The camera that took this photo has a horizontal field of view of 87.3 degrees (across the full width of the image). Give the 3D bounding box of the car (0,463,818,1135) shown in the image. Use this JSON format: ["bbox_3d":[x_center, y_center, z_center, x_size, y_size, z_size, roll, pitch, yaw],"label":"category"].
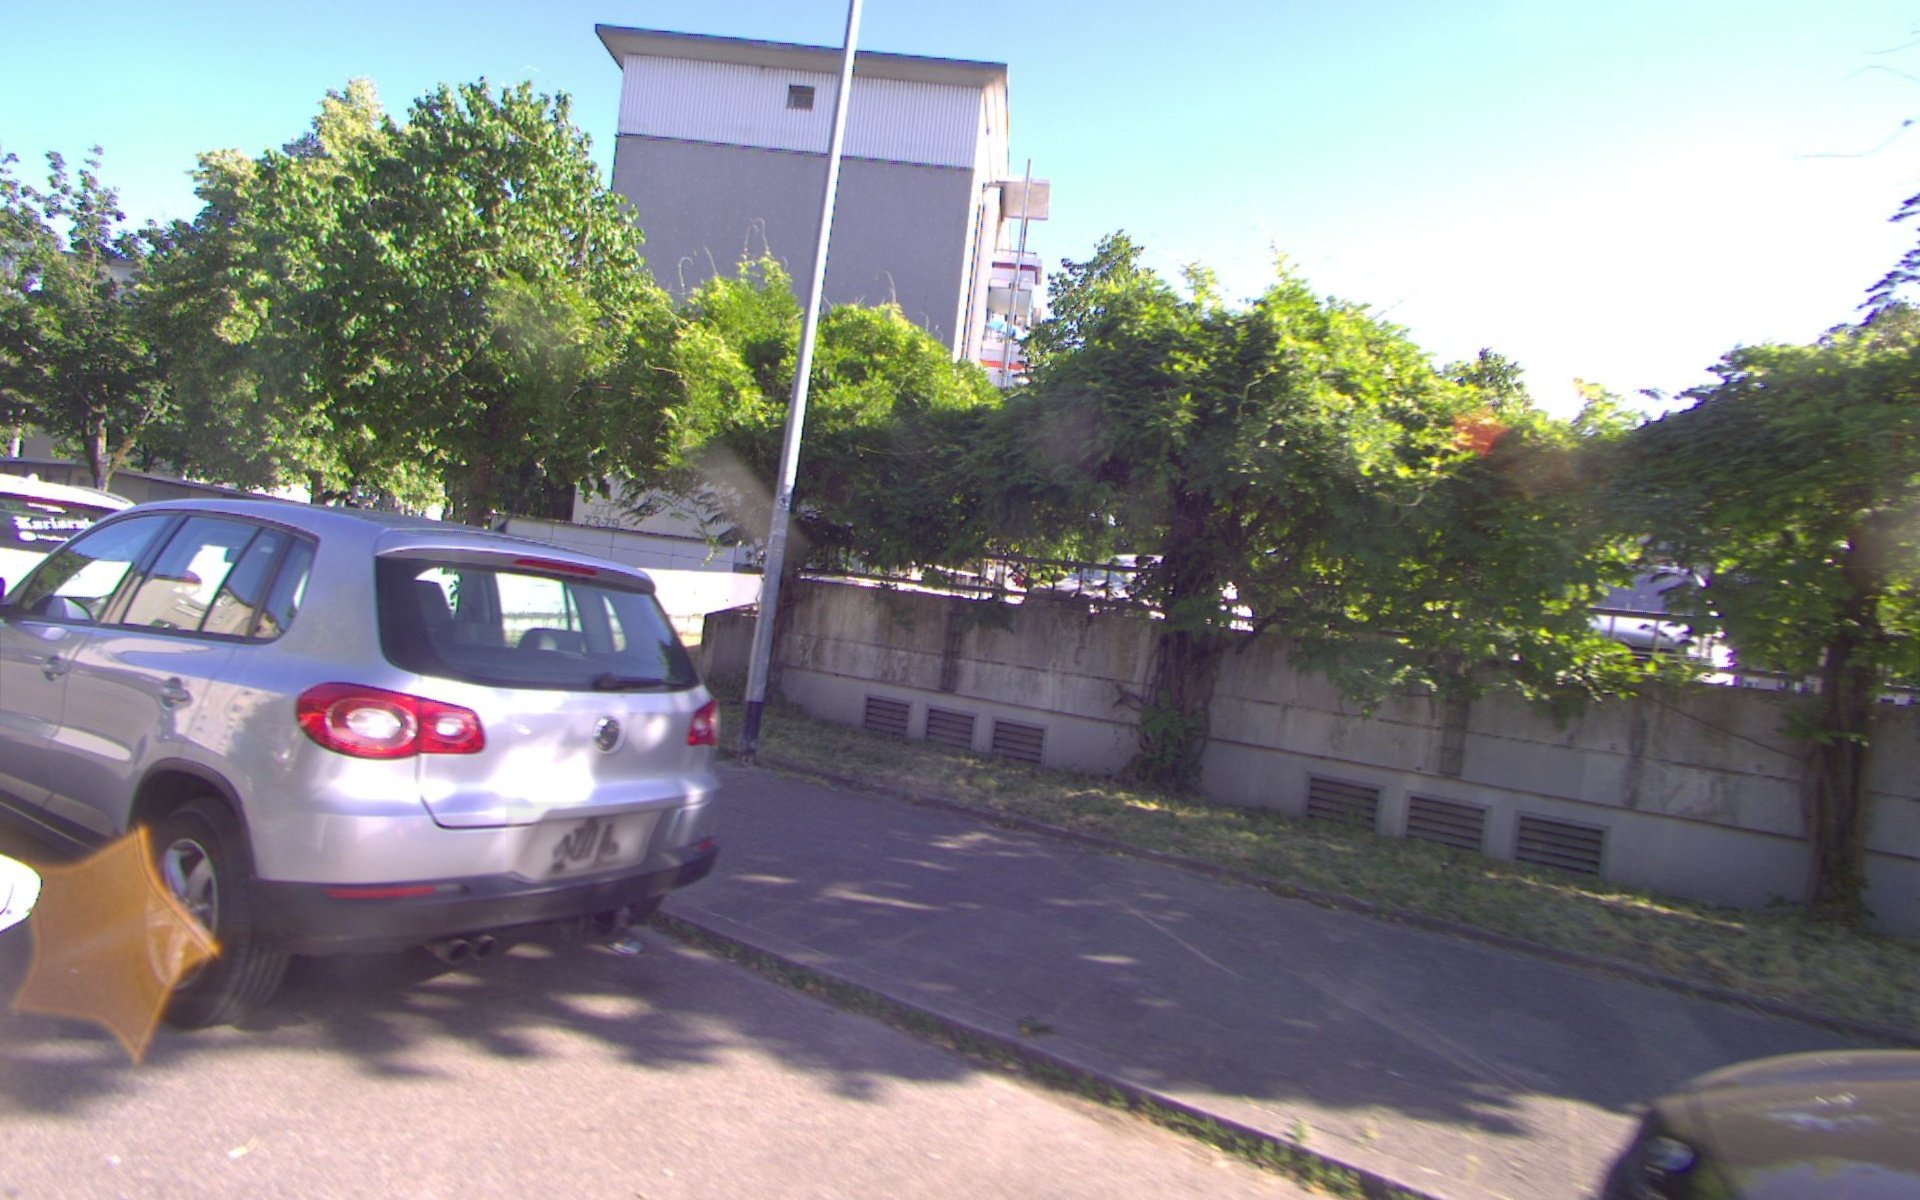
[{"bbox_3d":[-2.879,0.421,4.360,4.162,1.638,1.733,7,-2,30],"label":"car"}]

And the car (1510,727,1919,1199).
[{"bbox_3d":[2.975,1.189,0.919,4.217,1.473,1.687,6,-2,28],"label":"car"}]

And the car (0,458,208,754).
[{"bbox_3d":[-7.255,-0.139,7.059,4.164,1.718,1.656,6,-1,32],"label":"car"}]

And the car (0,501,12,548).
[{"bbox_3d":[-35.181,-2.906,33.981,1.802,1.611,4.223,6,-2,35],"label":"car"}]
